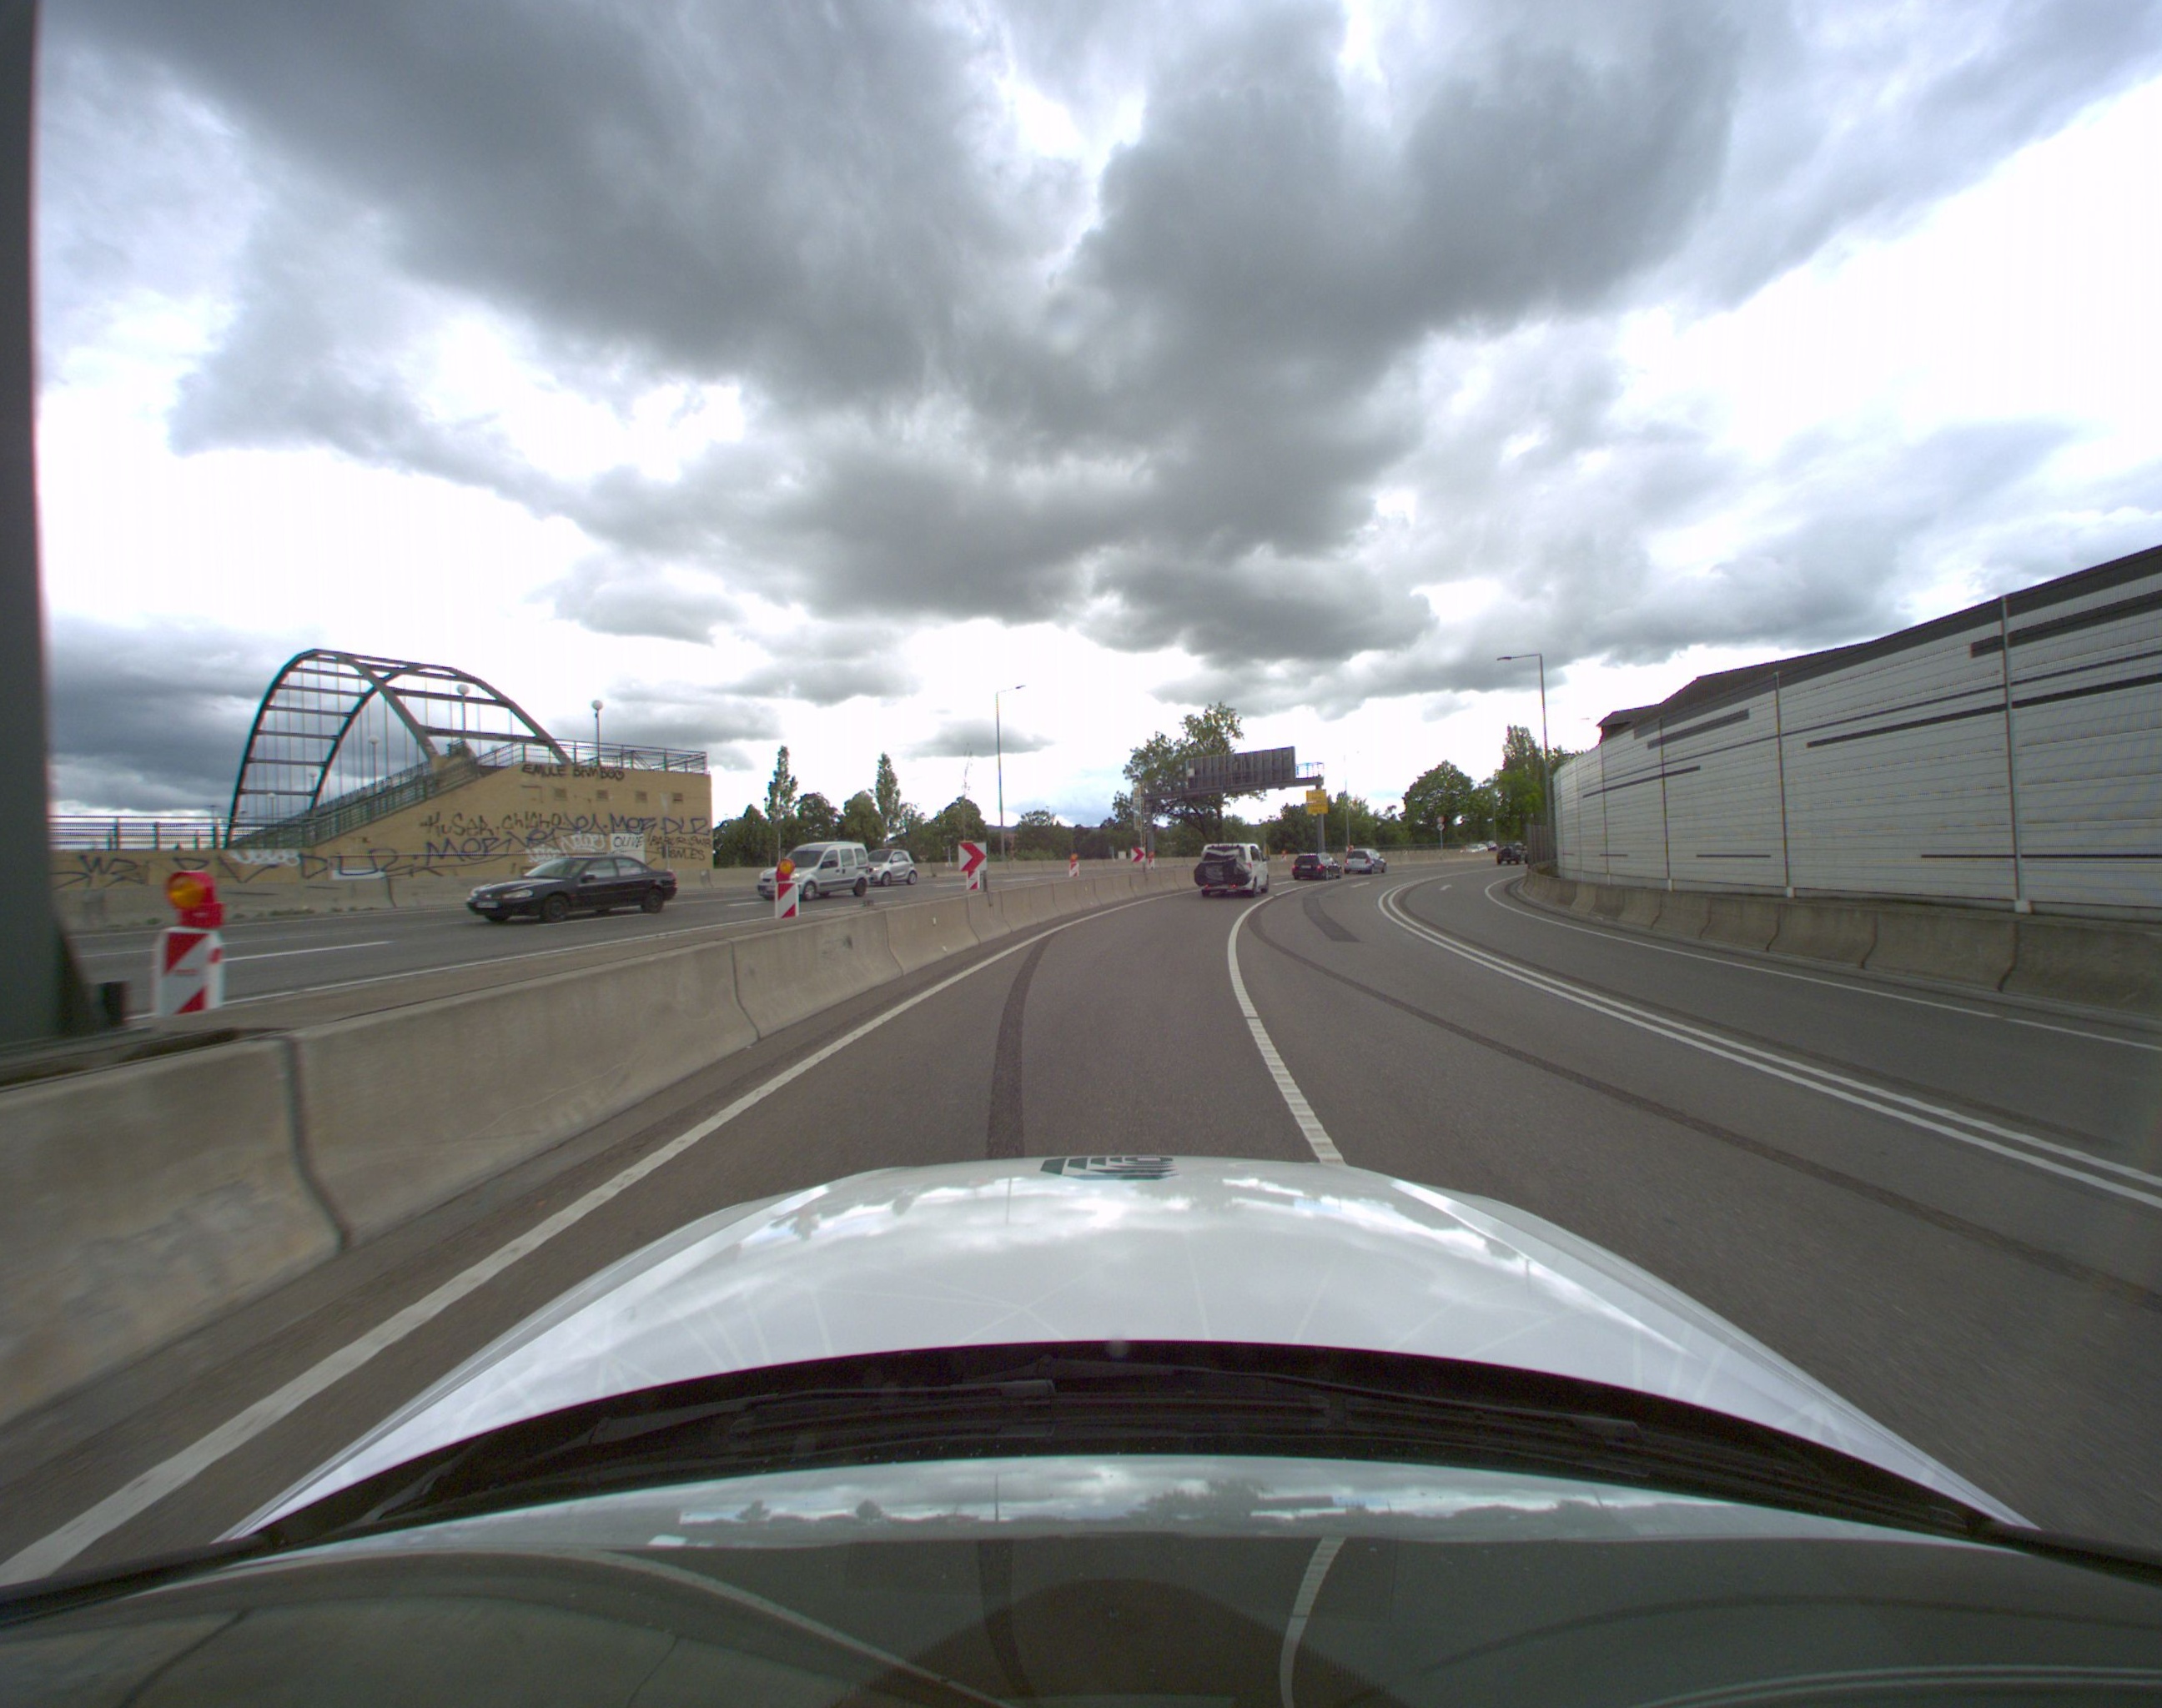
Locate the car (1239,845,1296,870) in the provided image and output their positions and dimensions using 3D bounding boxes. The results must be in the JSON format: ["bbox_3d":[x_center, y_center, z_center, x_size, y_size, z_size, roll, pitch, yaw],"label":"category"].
[{"bbox_3d":[12.108,0.183,52.637,2.077,1.552,5.175,0,1,32],"label":"car"}]

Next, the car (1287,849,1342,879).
[{"bbox_3d":[12.616,0.533,43.763,1.797,1.434,4.091,-3,-1,31],"label":"car"}]

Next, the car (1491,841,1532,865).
[{"bbox_3d":[34.732,-0.102,65.683,1.974,1.860,4.024,-2,-1,42],"label":"car"}]

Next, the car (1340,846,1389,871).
[{"bbox_3d":[18.067,0.290,51.781,1.902,1.489,4.091,-1,0,35],"label":"car"}]

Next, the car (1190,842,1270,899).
[{"bbox_3d":[5.503,0.499,29.417,1.976,1.859,5.669,0,1,19],"label":"car"}]

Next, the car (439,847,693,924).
[{"bbox_3d":[-11.291,0.628,18.323,1.978,1.488,4.608,-1,0,17],"label":"car"}]

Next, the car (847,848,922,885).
[{"bbox_3d":[-8.387,0.520,34.920,1.610,1.475,2.958,-1,0,25],"label":"car"}]

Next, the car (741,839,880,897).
[{"bbox_3d":[-8.429,0.418,25.807,1.977,1.686,4.280,-1,0,19],"label":"car"}]

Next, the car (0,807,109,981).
[{"bbox_3d":[-13.460,0.464,7.638,2.224,1.951,5.117,-1,0,9],"label":"car"}]
